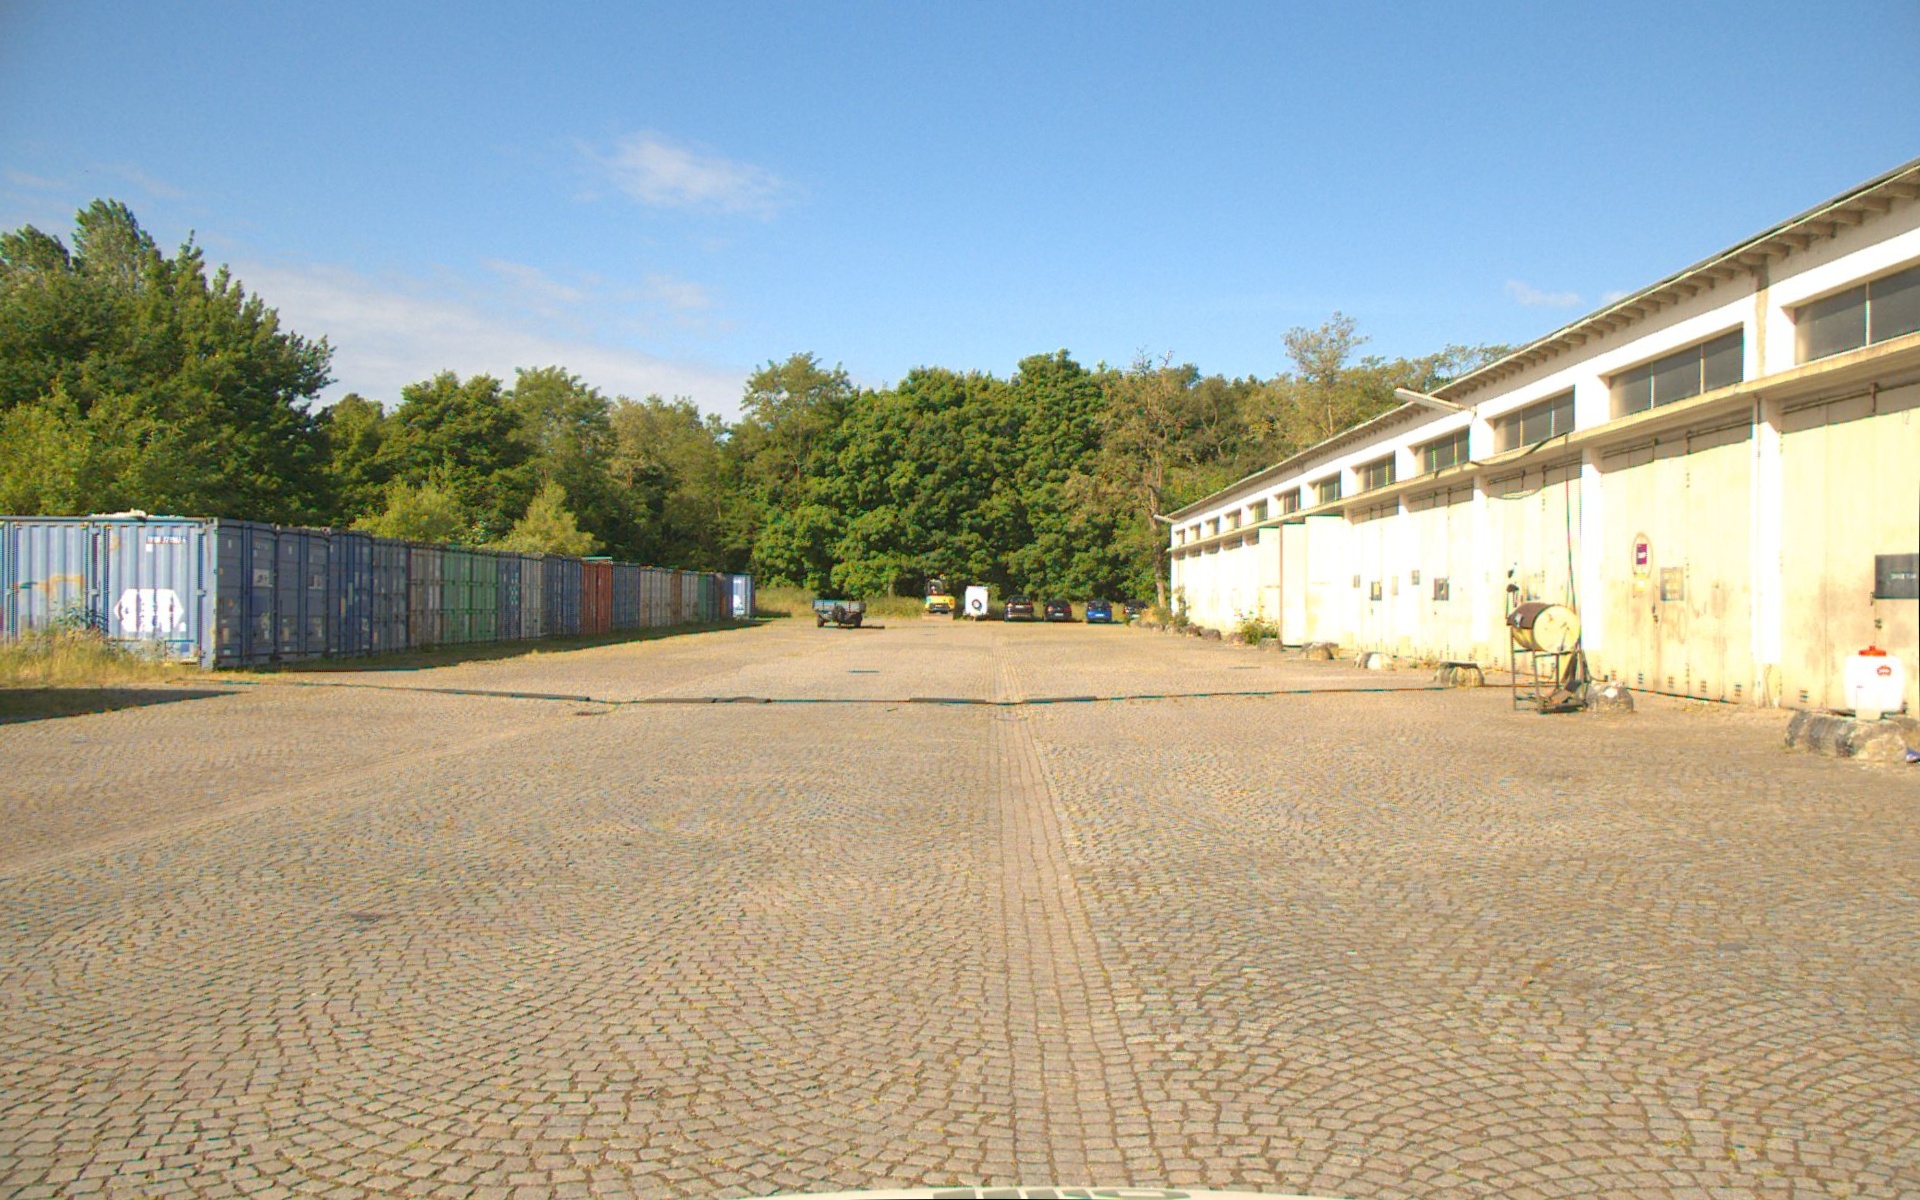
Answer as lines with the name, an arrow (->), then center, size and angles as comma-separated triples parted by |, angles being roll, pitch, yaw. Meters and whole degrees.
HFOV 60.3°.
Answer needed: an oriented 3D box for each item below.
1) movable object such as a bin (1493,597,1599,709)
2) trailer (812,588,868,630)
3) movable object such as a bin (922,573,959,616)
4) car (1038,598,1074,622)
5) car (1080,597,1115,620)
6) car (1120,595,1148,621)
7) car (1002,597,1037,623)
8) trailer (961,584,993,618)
movable object such as a bin -> 7.317, 0.646, 20.702 | 0.807, 1.355, 1.279 | 0, 0, -4
trailer -> -6.258, 0.441, 86.894 | 2.357, 2.049, 4.175 | 2, 0, 3
movable object such as a bin -> -1.228, -0.362, 106.204 | 1.951, 2.664, 4.002 | 2, 0, 5
car -> 6.087, 0.637, 104.106 | 1.951, 1.488, 4.003 | 0, 0, 8
car -> 8.697, 0.534, 104.304 | 1.951, 1.445, 4.003 | 0, 0, 8
car -> 11.118, 0.501, 105.508 | 1.649, 1.591, 4.003 | 0, 0, 8
car -> 3.756, 0.617, 104.168 | 1.822, 1.613, 4.003 | 0, 0, 8
trailer -> 1.115, 0.054, 105.898 | 1.756, 2.126, 3.974 | 0, 0, 5
